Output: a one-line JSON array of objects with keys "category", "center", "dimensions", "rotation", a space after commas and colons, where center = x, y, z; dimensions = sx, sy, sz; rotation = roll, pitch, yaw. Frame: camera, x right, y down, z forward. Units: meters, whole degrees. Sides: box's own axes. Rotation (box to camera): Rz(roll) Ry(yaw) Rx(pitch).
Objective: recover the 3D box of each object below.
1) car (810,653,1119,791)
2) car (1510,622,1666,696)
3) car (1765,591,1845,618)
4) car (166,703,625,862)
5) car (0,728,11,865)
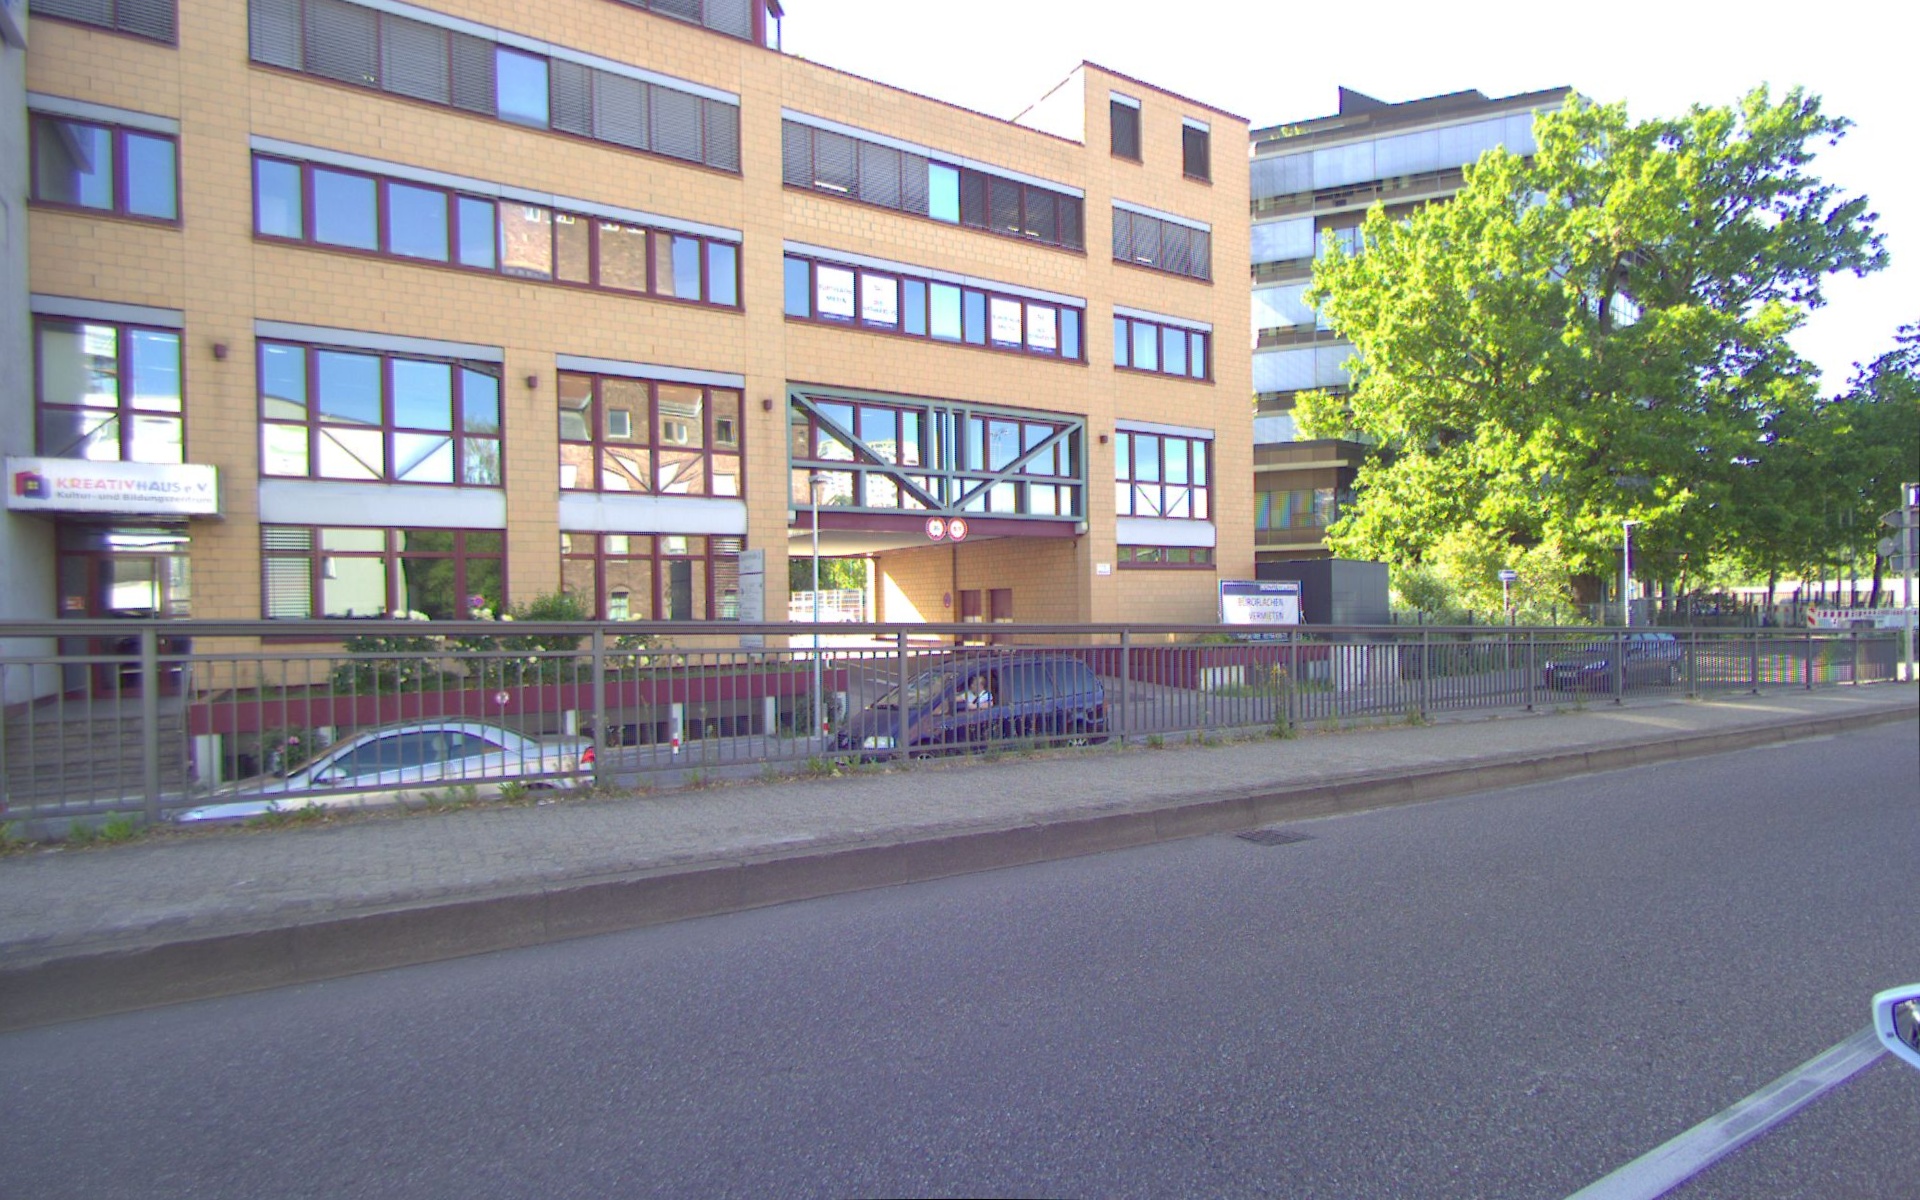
[{"category": "car", "center": [0.154, 1.700, 15.196], "dimensions": [4.541, 1.669, 1.710], "rotation": [0, -2, -35]}, {"category": "car", "center": [16.439, 1.472, 26.275], "dimensions": [3.953, 1.715, 1.843], "rotation": [-1, 0, -30]}, {"category": "car", "center": [59.891, 0.364, 71.325], "dimensions": [1.885, 1.818, 4.902], "rotation": [-1, -1, 6]}, {"category": "car", "center": [-6.131, 1.903, 11.311], "dimensions": [4.210, 1.181, 1.713], "rotation": [0, -2, -32]}, {"category": "car", "center": [-10.616, 1.886, 8.301], "dimensions": [3.766, 1.286, 1.567], "rotation": [0, -2, -32]}]
